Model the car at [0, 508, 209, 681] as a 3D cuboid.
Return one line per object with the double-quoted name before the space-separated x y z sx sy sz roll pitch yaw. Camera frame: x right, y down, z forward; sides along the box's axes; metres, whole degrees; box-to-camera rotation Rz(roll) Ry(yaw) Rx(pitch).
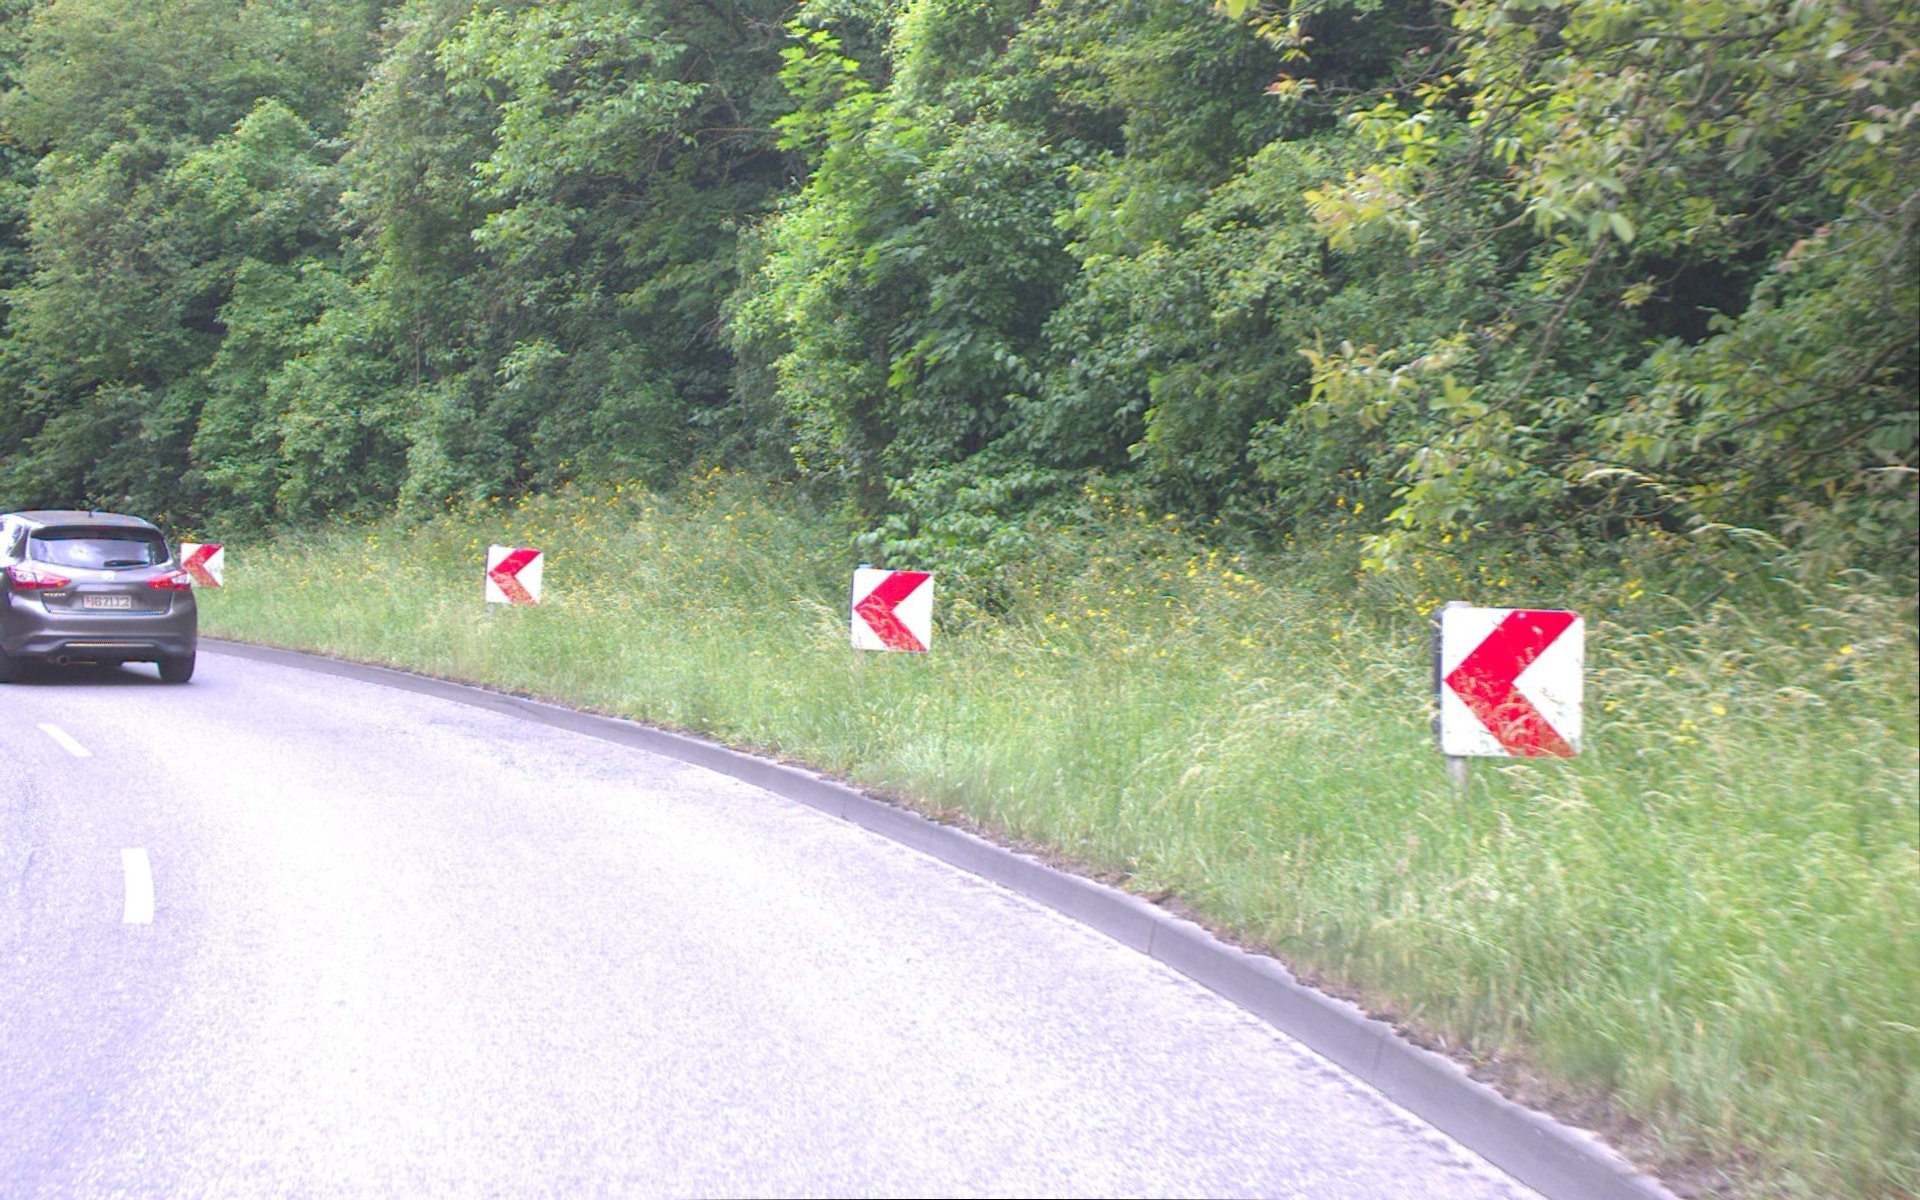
"car" -8.294 -0.104 31.666 1.839 1.478 4.001 -1 2 -25
